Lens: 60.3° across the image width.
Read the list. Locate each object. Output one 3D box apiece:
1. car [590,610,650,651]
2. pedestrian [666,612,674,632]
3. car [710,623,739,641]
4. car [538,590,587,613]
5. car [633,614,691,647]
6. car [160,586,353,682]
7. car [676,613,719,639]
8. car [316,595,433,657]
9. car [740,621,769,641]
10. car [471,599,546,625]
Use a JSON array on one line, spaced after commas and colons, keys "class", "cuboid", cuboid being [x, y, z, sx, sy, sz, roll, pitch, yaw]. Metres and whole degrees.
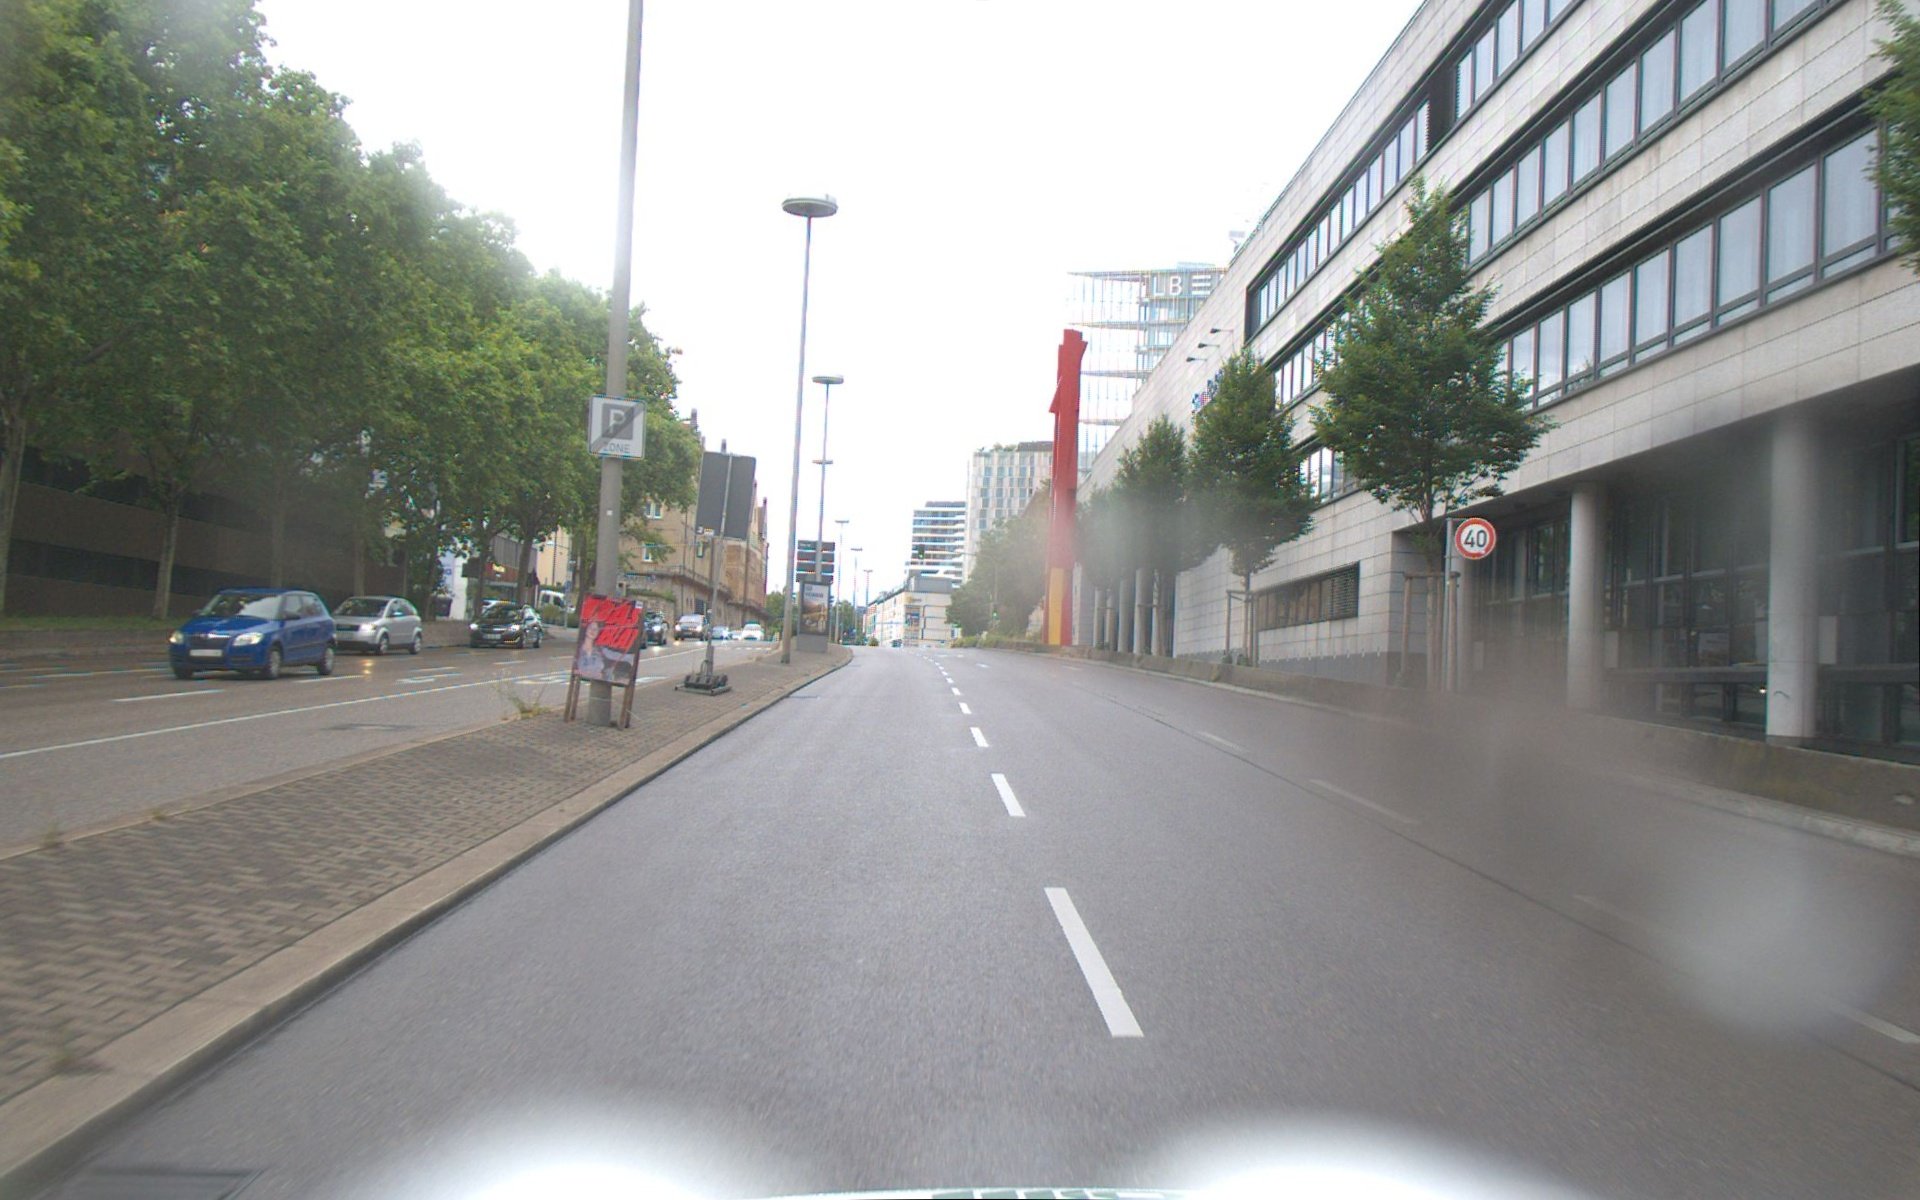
[{"class": "car", "cuboid": [-12.479, 1.099, 60.876, 1.654, 1.435, 3.995, 1, -1, -5]}, {"class": "pedestrian", "cuboid": [-24.512, 1.864, 139.962, 0.488, 1.639, 0.500, 2, -2, 1]}, {"class": "car", "cuboid": [-19.360, 2.660, 135.992, 1.782, 1.409, 4.000, 0, -2, 1]}, {"class": "car", "cuboid": [-31.993, 0.116, 133.111, 3.557, 1.730, 1.823, 1, -2, -5]}, {"class": "car", "cuboid": [-13.358, 1.384, 74.336, 1.782, 1.428, 4.000, 0, -2, 1]}, {"class": "car", "cuboid": [-11.997, 0.549, 28.496, 1.575, 1.499, 4.067, 1, 0, 0]}, {"class": "car", "cuboid": [-15.163, 1.499, 95.575, 1.782, 1.428, 4.000, 0, -2, 1]}, {"class": "car", "cuboid": [-15.614, 0.672, 44.311, 1.565, 1.517, 3.757, 2, 0, 3]}, {"class": "car", "cuboid": [-16.362, 2.501, 132.031, 1.782, 1.494, 4.000, 0, -2, 1]}, {"class": "car", "cuboid": [-28.930, 0.771, 106.120, 1.789, 1.537, 4.559, -1, -2, 36]}]
